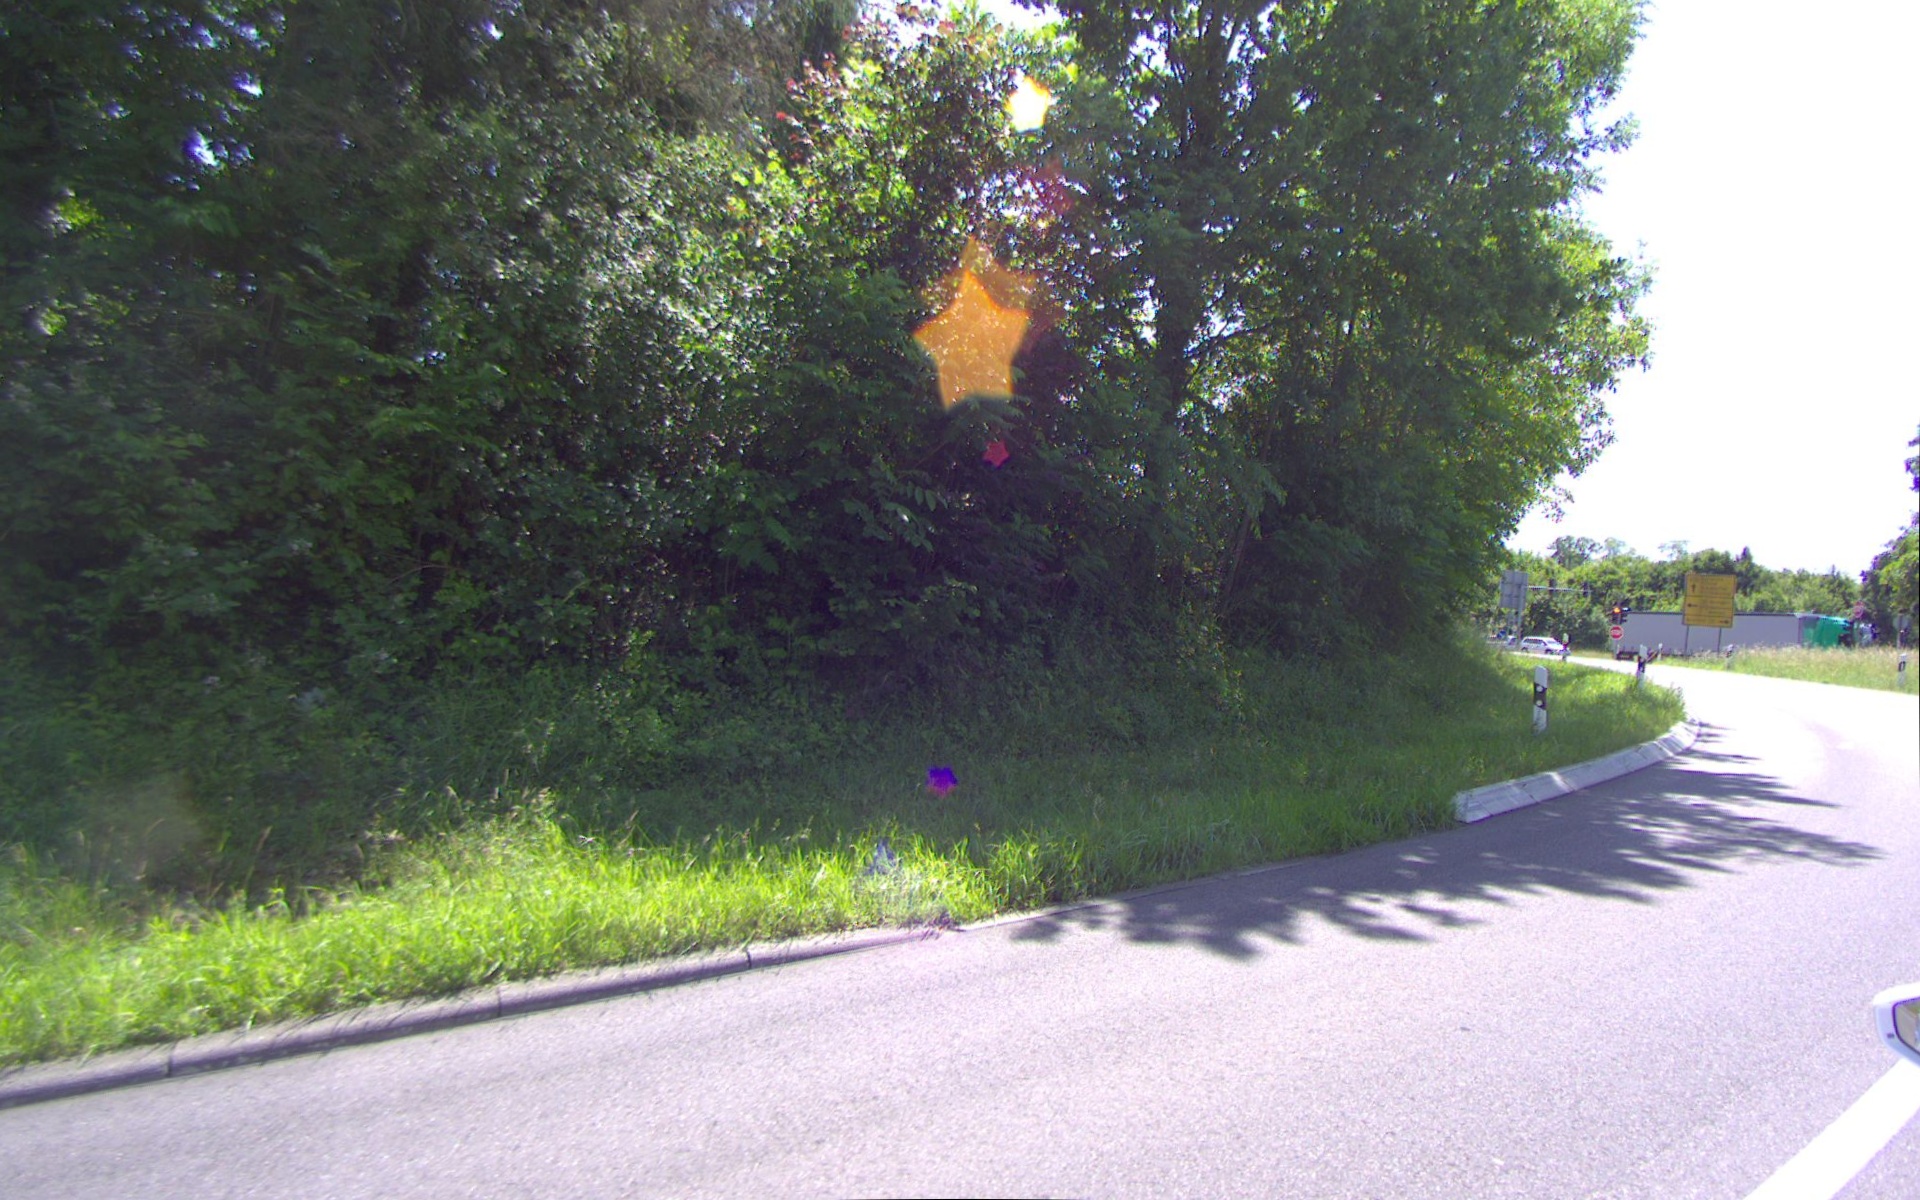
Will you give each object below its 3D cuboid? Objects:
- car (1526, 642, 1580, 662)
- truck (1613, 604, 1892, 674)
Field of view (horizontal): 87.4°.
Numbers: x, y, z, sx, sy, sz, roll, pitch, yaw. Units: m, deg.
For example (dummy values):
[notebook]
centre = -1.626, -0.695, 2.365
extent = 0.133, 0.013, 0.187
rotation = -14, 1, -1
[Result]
[car]
centre = 51.125, 4.485, 86.613
extent = 1.710, 1.596, 3.650
rotation = 2, -1, -38
[truck]
centre = 55.338, 2.498, 71.426
extent = 3.087, 4.227, 16.620
rotation = 3, -1, -18
